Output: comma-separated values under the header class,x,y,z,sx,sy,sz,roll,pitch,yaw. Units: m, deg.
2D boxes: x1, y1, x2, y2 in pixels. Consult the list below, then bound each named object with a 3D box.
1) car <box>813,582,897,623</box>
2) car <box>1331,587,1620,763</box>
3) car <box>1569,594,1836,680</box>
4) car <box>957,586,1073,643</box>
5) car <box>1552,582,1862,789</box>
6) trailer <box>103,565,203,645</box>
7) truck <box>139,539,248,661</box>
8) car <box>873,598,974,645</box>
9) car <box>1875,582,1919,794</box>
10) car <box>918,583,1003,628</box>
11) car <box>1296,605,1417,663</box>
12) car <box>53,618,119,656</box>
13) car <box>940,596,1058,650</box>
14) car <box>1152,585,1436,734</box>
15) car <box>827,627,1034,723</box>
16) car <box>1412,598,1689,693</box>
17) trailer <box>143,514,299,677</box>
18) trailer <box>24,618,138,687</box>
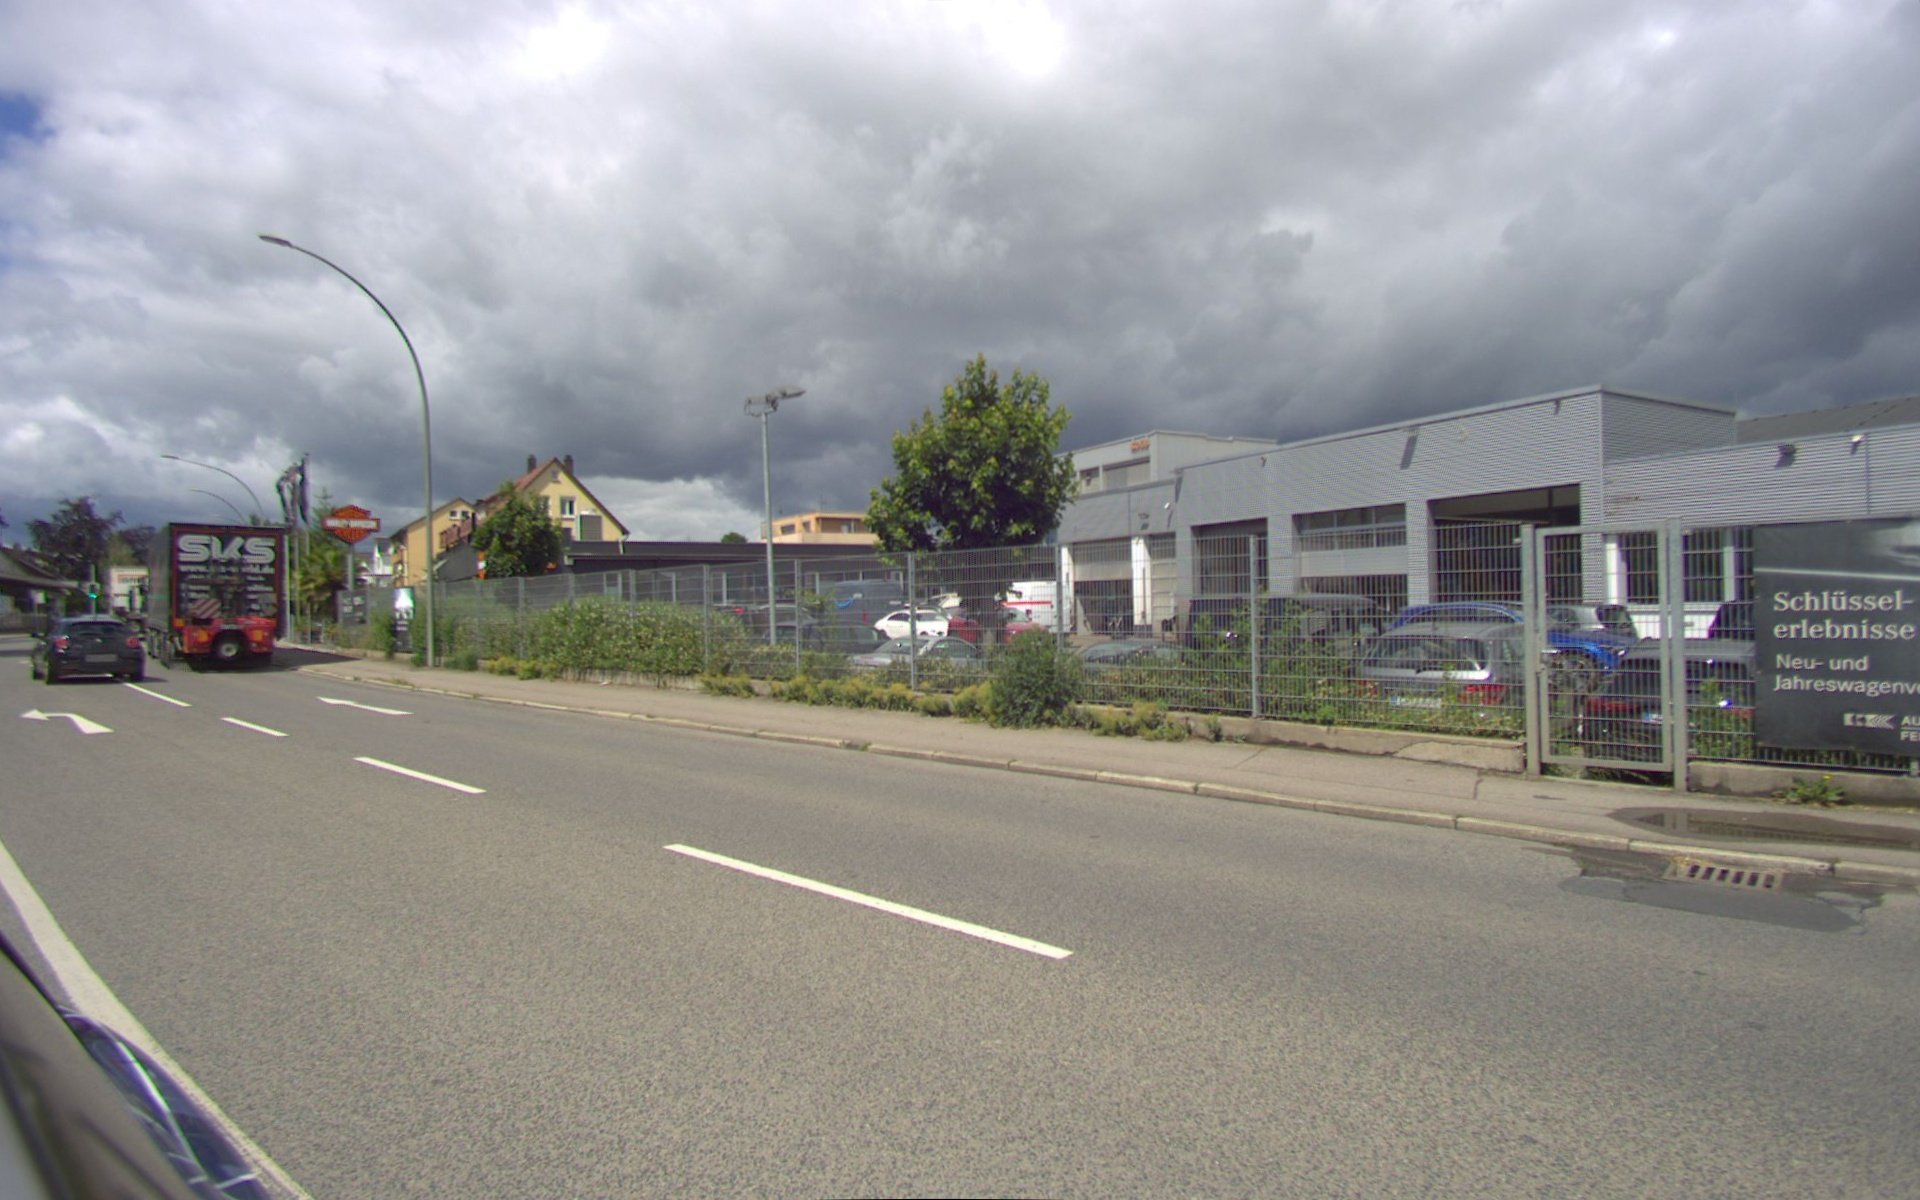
class,x,y,z,sx,sy,sz,roll,pitch,yaw
car,-4.423,0.100,42.168,1.698,1.617,4.161,-1,1,-35
car,6.288,0.732,12.124,1.926,1.713,4.144,-1,0,44
car,15.122,0.695,20.770,1.909,1.559,4.092,-1,0,-41
car,1.917,0.484,36.928,1.754,1.914,4.744,-1,1,-33
car,7.972,0.690,10.636,2.173,1.713,4.146,-1,0,43
trailer,-47.407,0.292,59.885,2.733,4.176,15.395,-1,0,-32
truck,-28.278,0.013,37.223,2.764,4.083,6.511,-1,0,-41
car,-1.390,0.734,37.082,1.698,1.617,4.161,-1,1,-35
car,9.812,0.677,9.171,2.173,1.713,4.147,-1,0,41
car,-0.031,0.248,47.917,1.966,2.029,4.350,-1,1,-33
car,10.506,0.860,26.771,3.285,1.367,1.584,-1,0,-40
car,-36.938,1.530,42.745,1.818,1.474,4.256,2,-2,-44
car,1.218,0.695,33.129,1.698,1.617,4.161,-1,1,-35
car,4.743,0.683,14.059,2.174,1.713,4.144,-1,0,44
car,-0.439,1.269,18.421,1.686,1.404,3.814,-1,0,39
car,10.971,0.773,19.011,1.909,1.559,4.092,-1,0,-41
trailer,-23.838,-0.052,32.110,2.764,4.083,15.579,-1,0,-41
trailer,-20.140,1.148,23.137,4.001,1.434,1.629,-2,-2,44
